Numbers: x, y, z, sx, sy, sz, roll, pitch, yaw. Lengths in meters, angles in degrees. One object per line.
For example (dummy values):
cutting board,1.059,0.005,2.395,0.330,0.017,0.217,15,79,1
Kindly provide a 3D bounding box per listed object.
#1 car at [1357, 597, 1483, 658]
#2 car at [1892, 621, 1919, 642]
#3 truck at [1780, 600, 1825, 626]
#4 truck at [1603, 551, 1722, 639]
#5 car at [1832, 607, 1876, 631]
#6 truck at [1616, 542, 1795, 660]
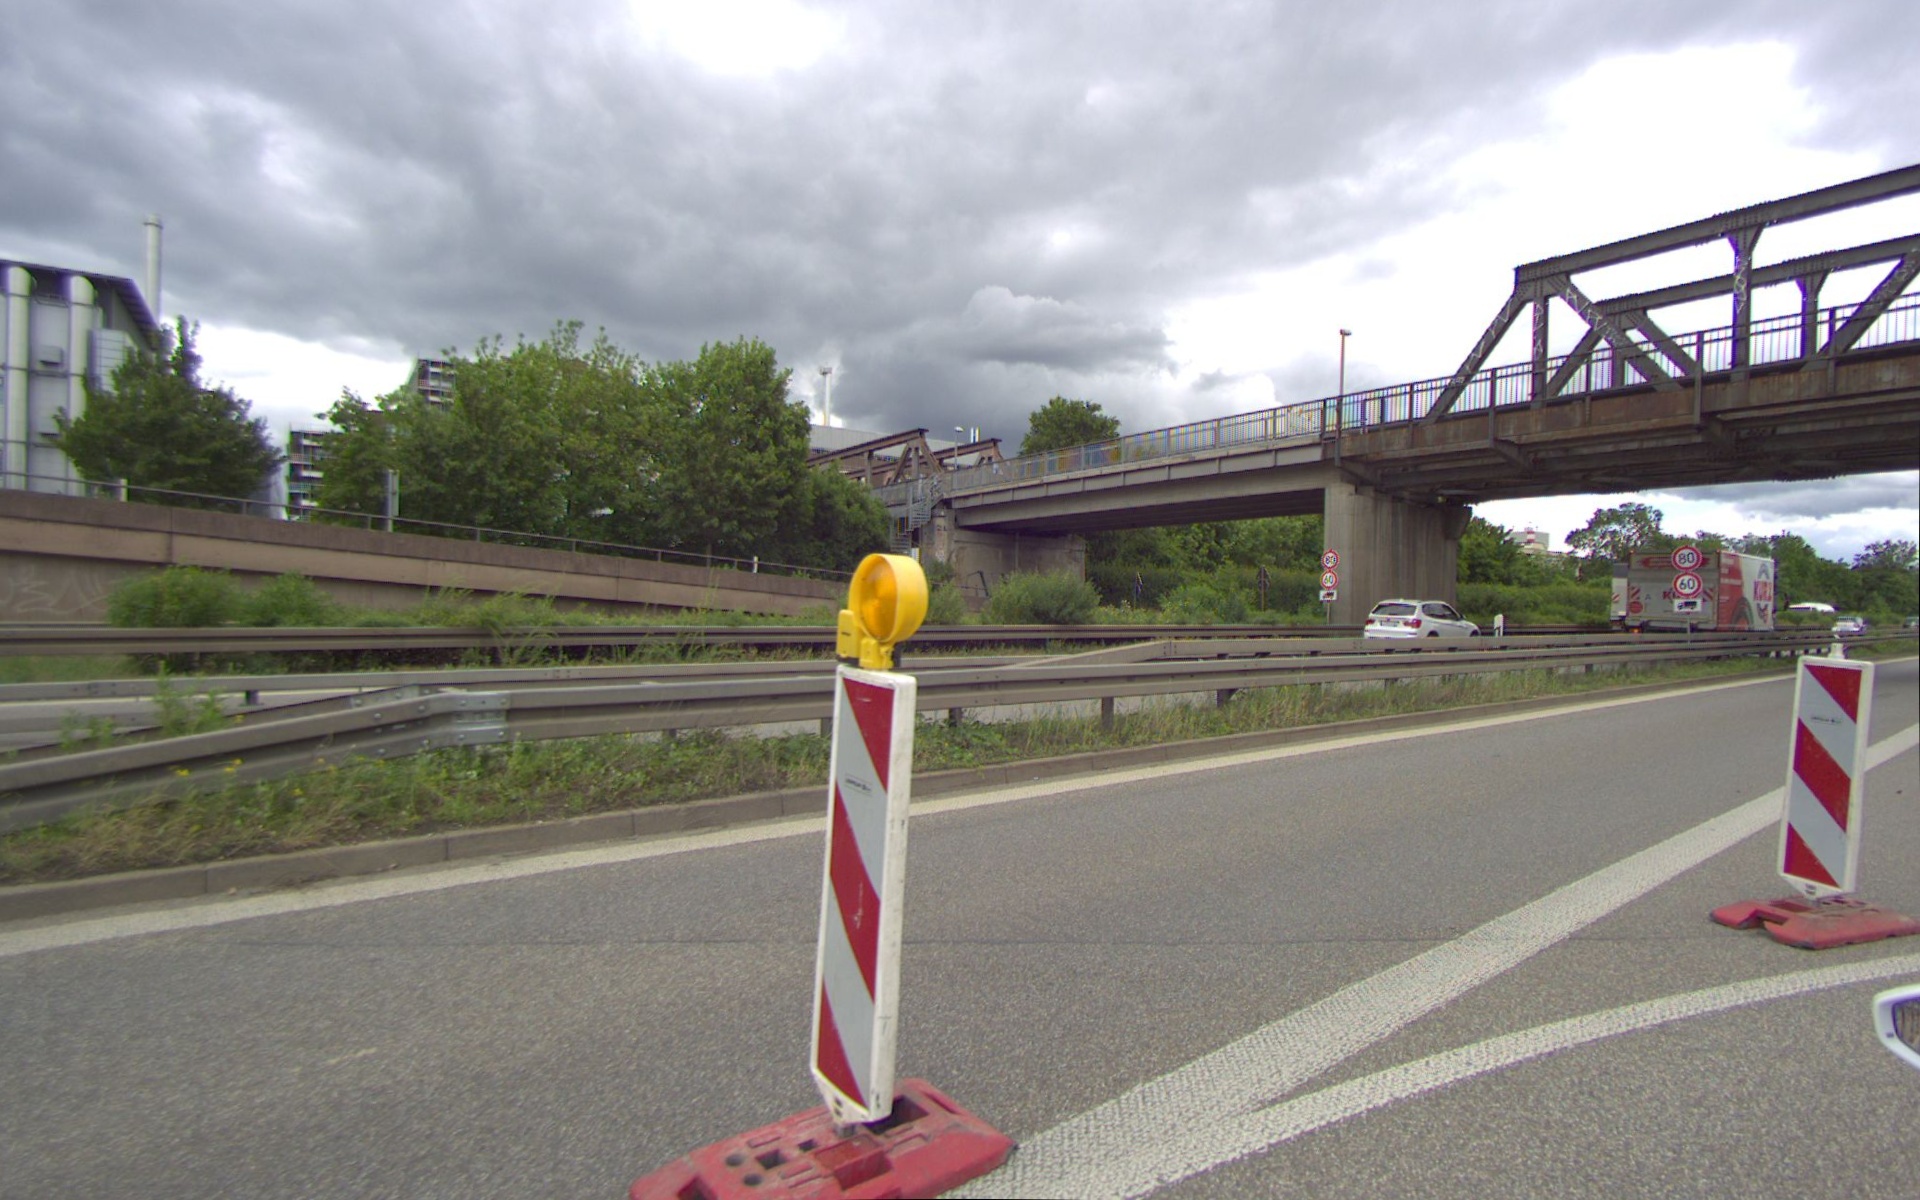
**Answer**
car,13.814,0.811,30.064,4.259,1.662,1.837,2,0,-41
car,87.108,2.886,92.138,3.969,1.782,1.976,2,-1,-41
truck,100.133,1.540,119.305,7.186,2.884,2.478,2,1,-37
truck,31.793,-0.116,45.298,7.687,3.603,2.965,2,-1,-44
car,67.104,1.437,75.372,3.967,1.782,1.977,2,-1,-40
truck,26.691,0.051,35.716,10.073,3.678,2.927,1,1,-41
